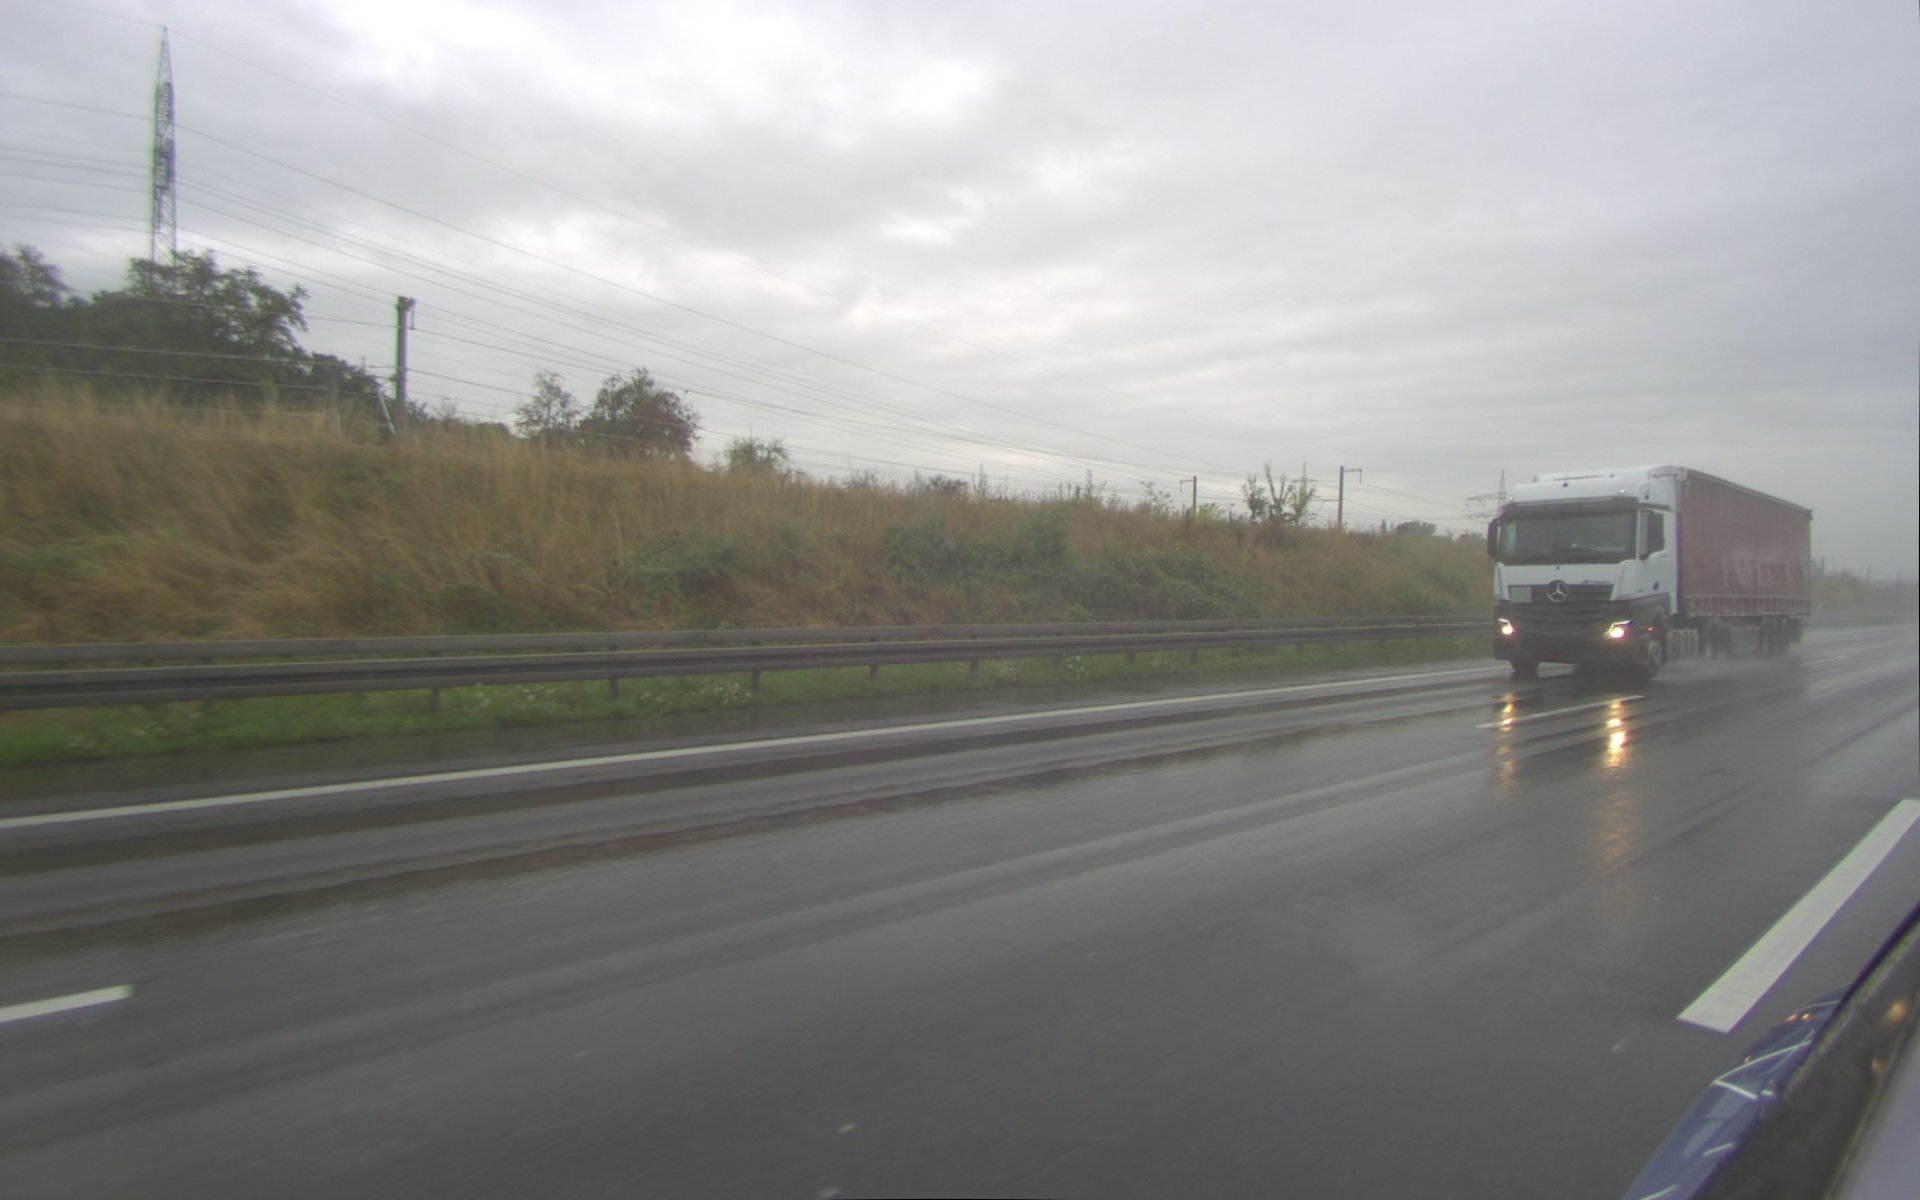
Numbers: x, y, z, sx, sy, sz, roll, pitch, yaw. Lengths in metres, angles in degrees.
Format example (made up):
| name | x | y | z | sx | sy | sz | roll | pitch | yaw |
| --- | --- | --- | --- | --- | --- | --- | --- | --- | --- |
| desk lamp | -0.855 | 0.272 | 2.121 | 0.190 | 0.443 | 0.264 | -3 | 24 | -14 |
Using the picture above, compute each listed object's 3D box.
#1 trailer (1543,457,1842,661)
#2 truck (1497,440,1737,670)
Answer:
| name | x | y | z | sx | sy | sz | roll | pitch | yaw |
| --- | --- | --- | --- | --- | --- | --- | --- | --- | --- |
| trailer | 18.878 | -0.771 | 25.176 | 16.255 | 3.813 | 2.484 | 0 | 0 | -41 |
| truck | 13.293 | -0.778 | 20.286 | 6.090 | 3.938 | 2.456 | 0 | 0 | -41 |
